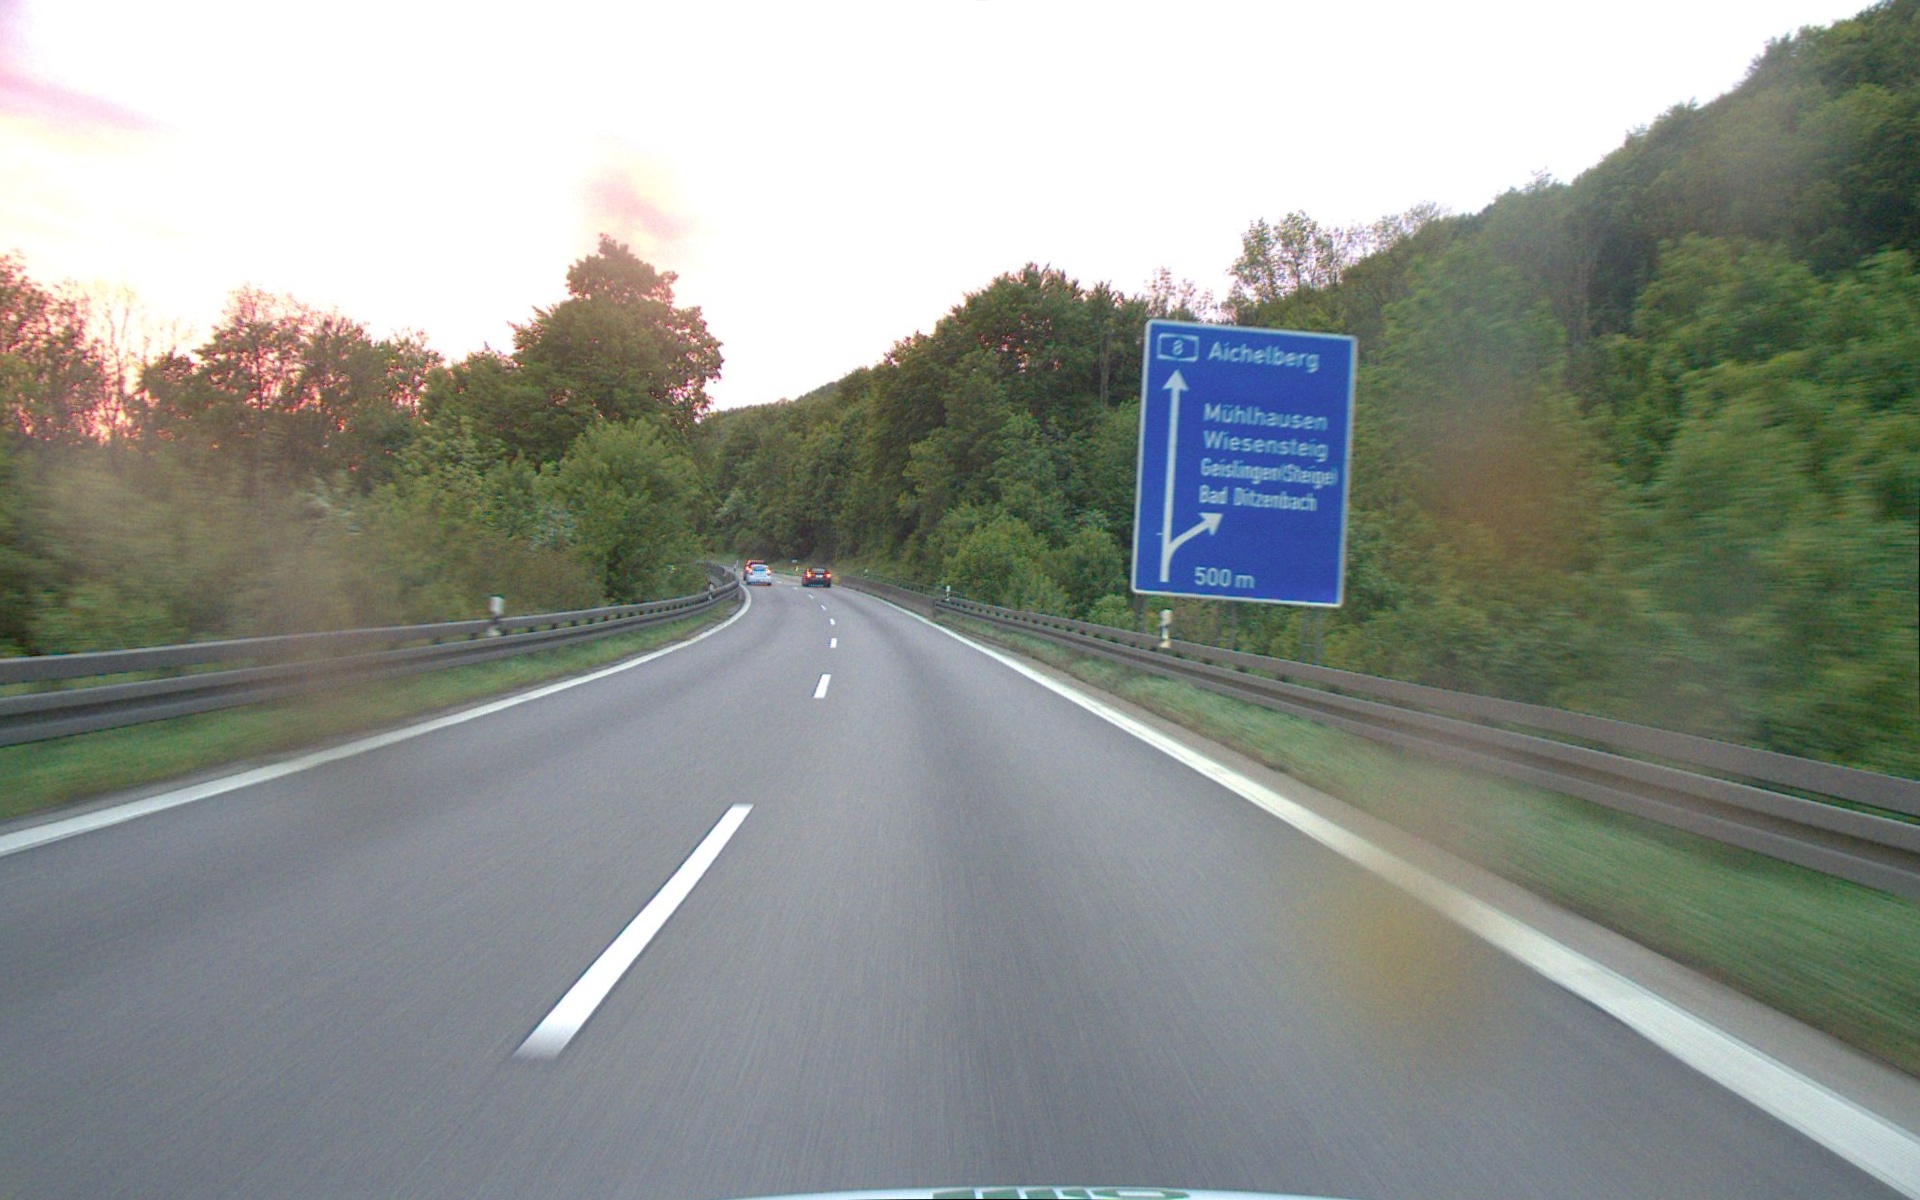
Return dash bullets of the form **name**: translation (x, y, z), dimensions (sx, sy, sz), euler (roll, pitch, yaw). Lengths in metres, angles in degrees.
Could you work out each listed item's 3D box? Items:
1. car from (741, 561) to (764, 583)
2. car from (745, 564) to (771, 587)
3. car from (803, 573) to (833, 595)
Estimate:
- **car**: translation (-16.491, -2.205, 131.696), dimensions (1.685, 1.663, 3.994), euler (-2, 0, -7)
- **car**: translation (-14.745, -1.762, 120.662), dimensions (1.685, 1.527, 3.996), euler (2, -1, -5)
- **car**: translation (-10.292, -1.138, 120.141), dimensions (1.840, 1.492, 4.000), euler (-1, 0, 0)
